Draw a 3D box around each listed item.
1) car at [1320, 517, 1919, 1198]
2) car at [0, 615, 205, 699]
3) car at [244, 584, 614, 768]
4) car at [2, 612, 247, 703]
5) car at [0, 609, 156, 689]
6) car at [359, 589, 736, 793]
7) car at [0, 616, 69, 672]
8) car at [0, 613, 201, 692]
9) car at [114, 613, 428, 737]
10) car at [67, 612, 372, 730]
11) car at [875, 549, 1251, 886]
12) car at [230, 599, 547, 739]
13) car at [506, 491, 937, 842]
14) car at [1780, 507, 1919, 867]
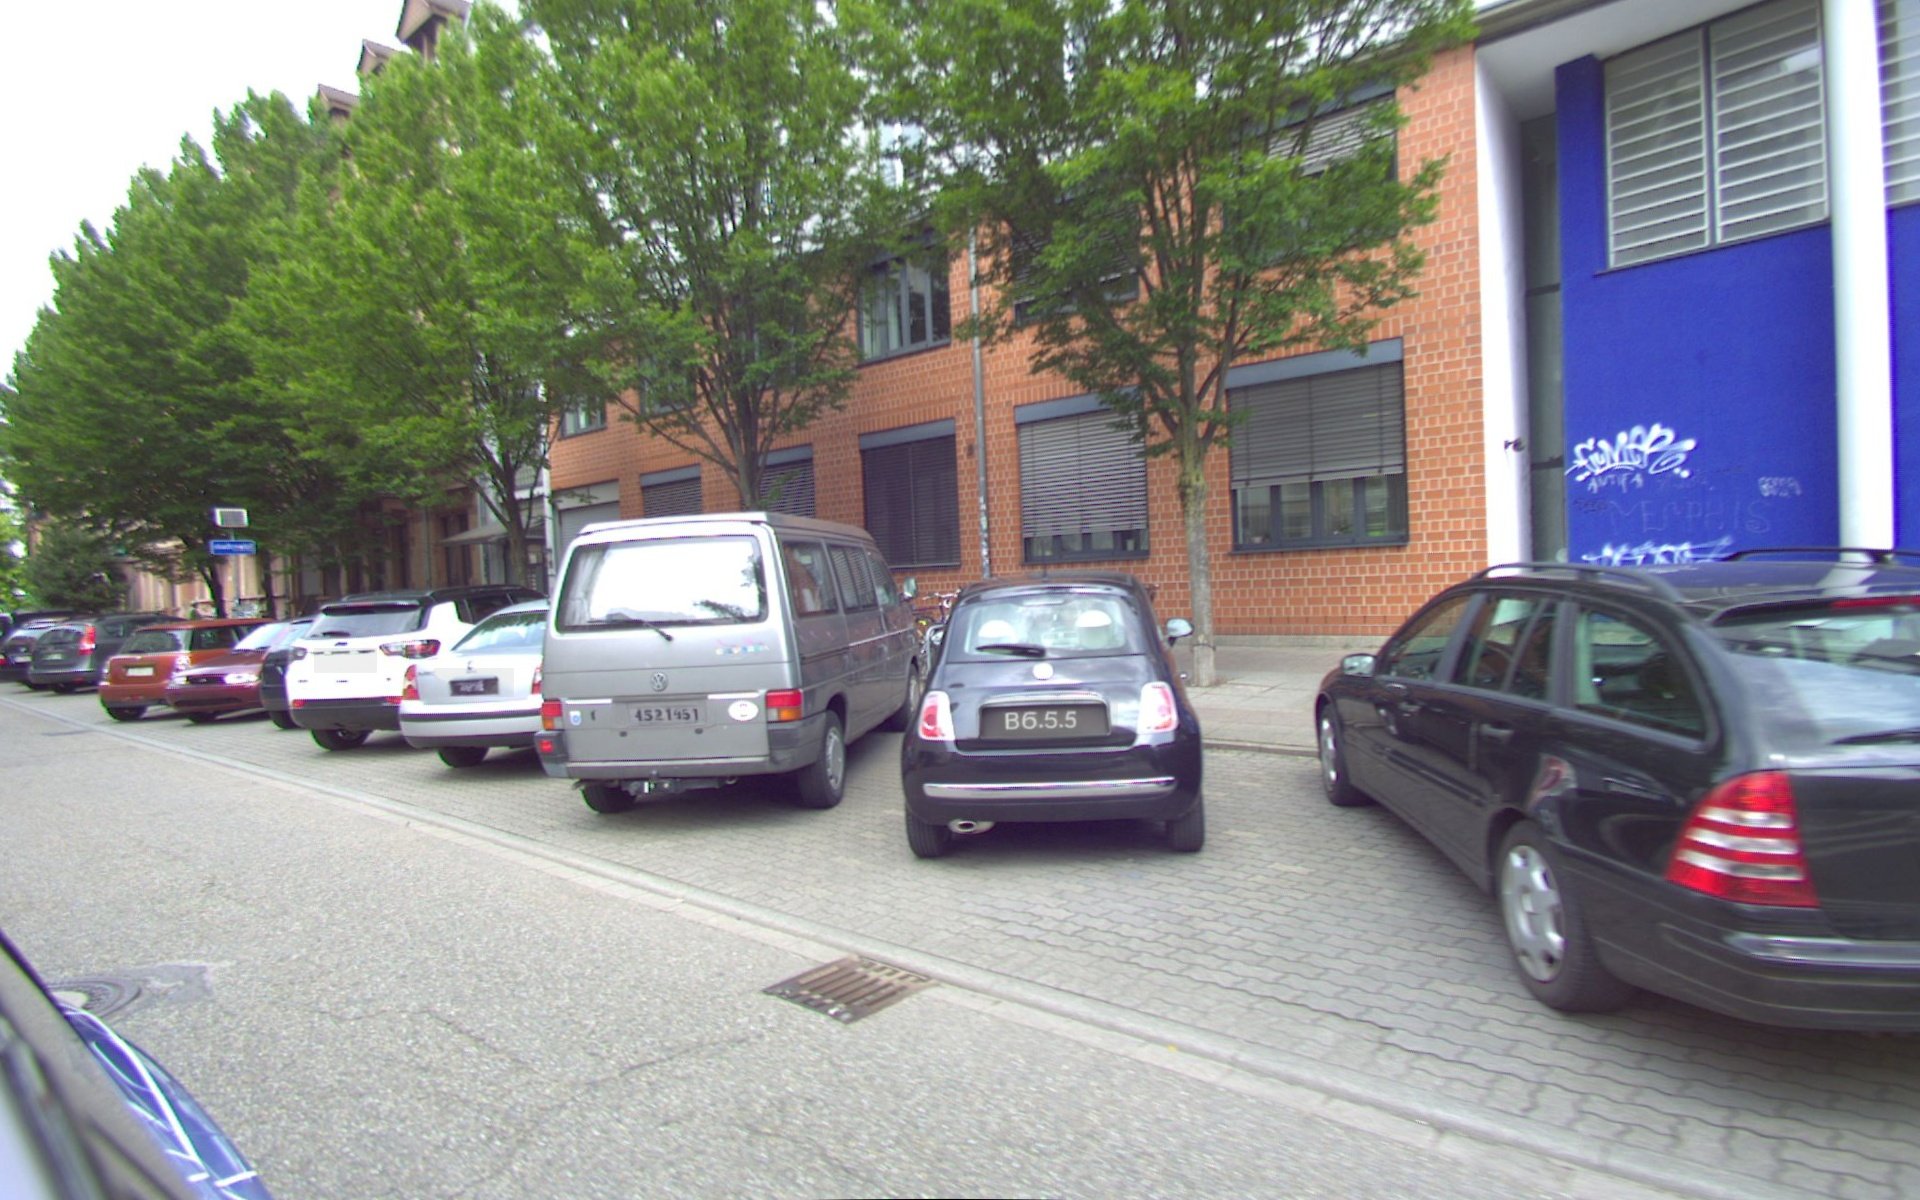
[{"bbox_3d":[2.963,0.486,4.253,1.696,1.480,4.309,-3,1,6],"label":"car"},{"bbox_3d":[-19.919,1.257,23.355,1.671,1.579,3.998,-3,1,6],"label":"car"},{"bbox_3d":[-5.654,0.687,11.435,1.692,1.627,3.998,-3,1,6],"label":"car"},{"bbox_3d":[-17.825,1.150,21.865,1.671,1.579,3.998,-3,1,6],"label":"car"},{"bbox_3d":[-24.585,1.303,27.636,1.671,1.871,4.038,-3,1,6],"label":"car"},{"bbox_3d":[-3.641,0.689,9.788,1.605,1.457,3.998,-3,1,6],"label":"car"},{"bbox_3d":[-34.576,1.636,36.125,1.671,1.871,3.998,-3,1,6],"label":"car"},{"bbox_3d":[-22.356,1.295,26.455,1.671,1.694,3.998,-3,1,6],"label":"car"},{"bbox_3d":[-9.942,0.999,15.032,1.577,1.400,3.998,-3,1,6],"label":"car"},{"bbox_3d":[-11.701,1.034,16.375,1.671,1.464,3.998,-3,1,6],"label":"car"},{"bbox_3d":[0.658,0.505,6.777,1.689,1.521,4.000,-3,2,6],"label":"car"},{"bbox_3d":[-7.570,0.815,13.931,1.738,1.488,3.998,-3,1,6],"label":"car"},{"bbox_3d":[-1.475,0.326,7.925,1.841,2.012,3.996,-3,2,9],"label":"car"},{"bbox_3d":[4.808,0.370,3.079,1.582,1.557,3.999,-3,1,6],"label":"car"}]
